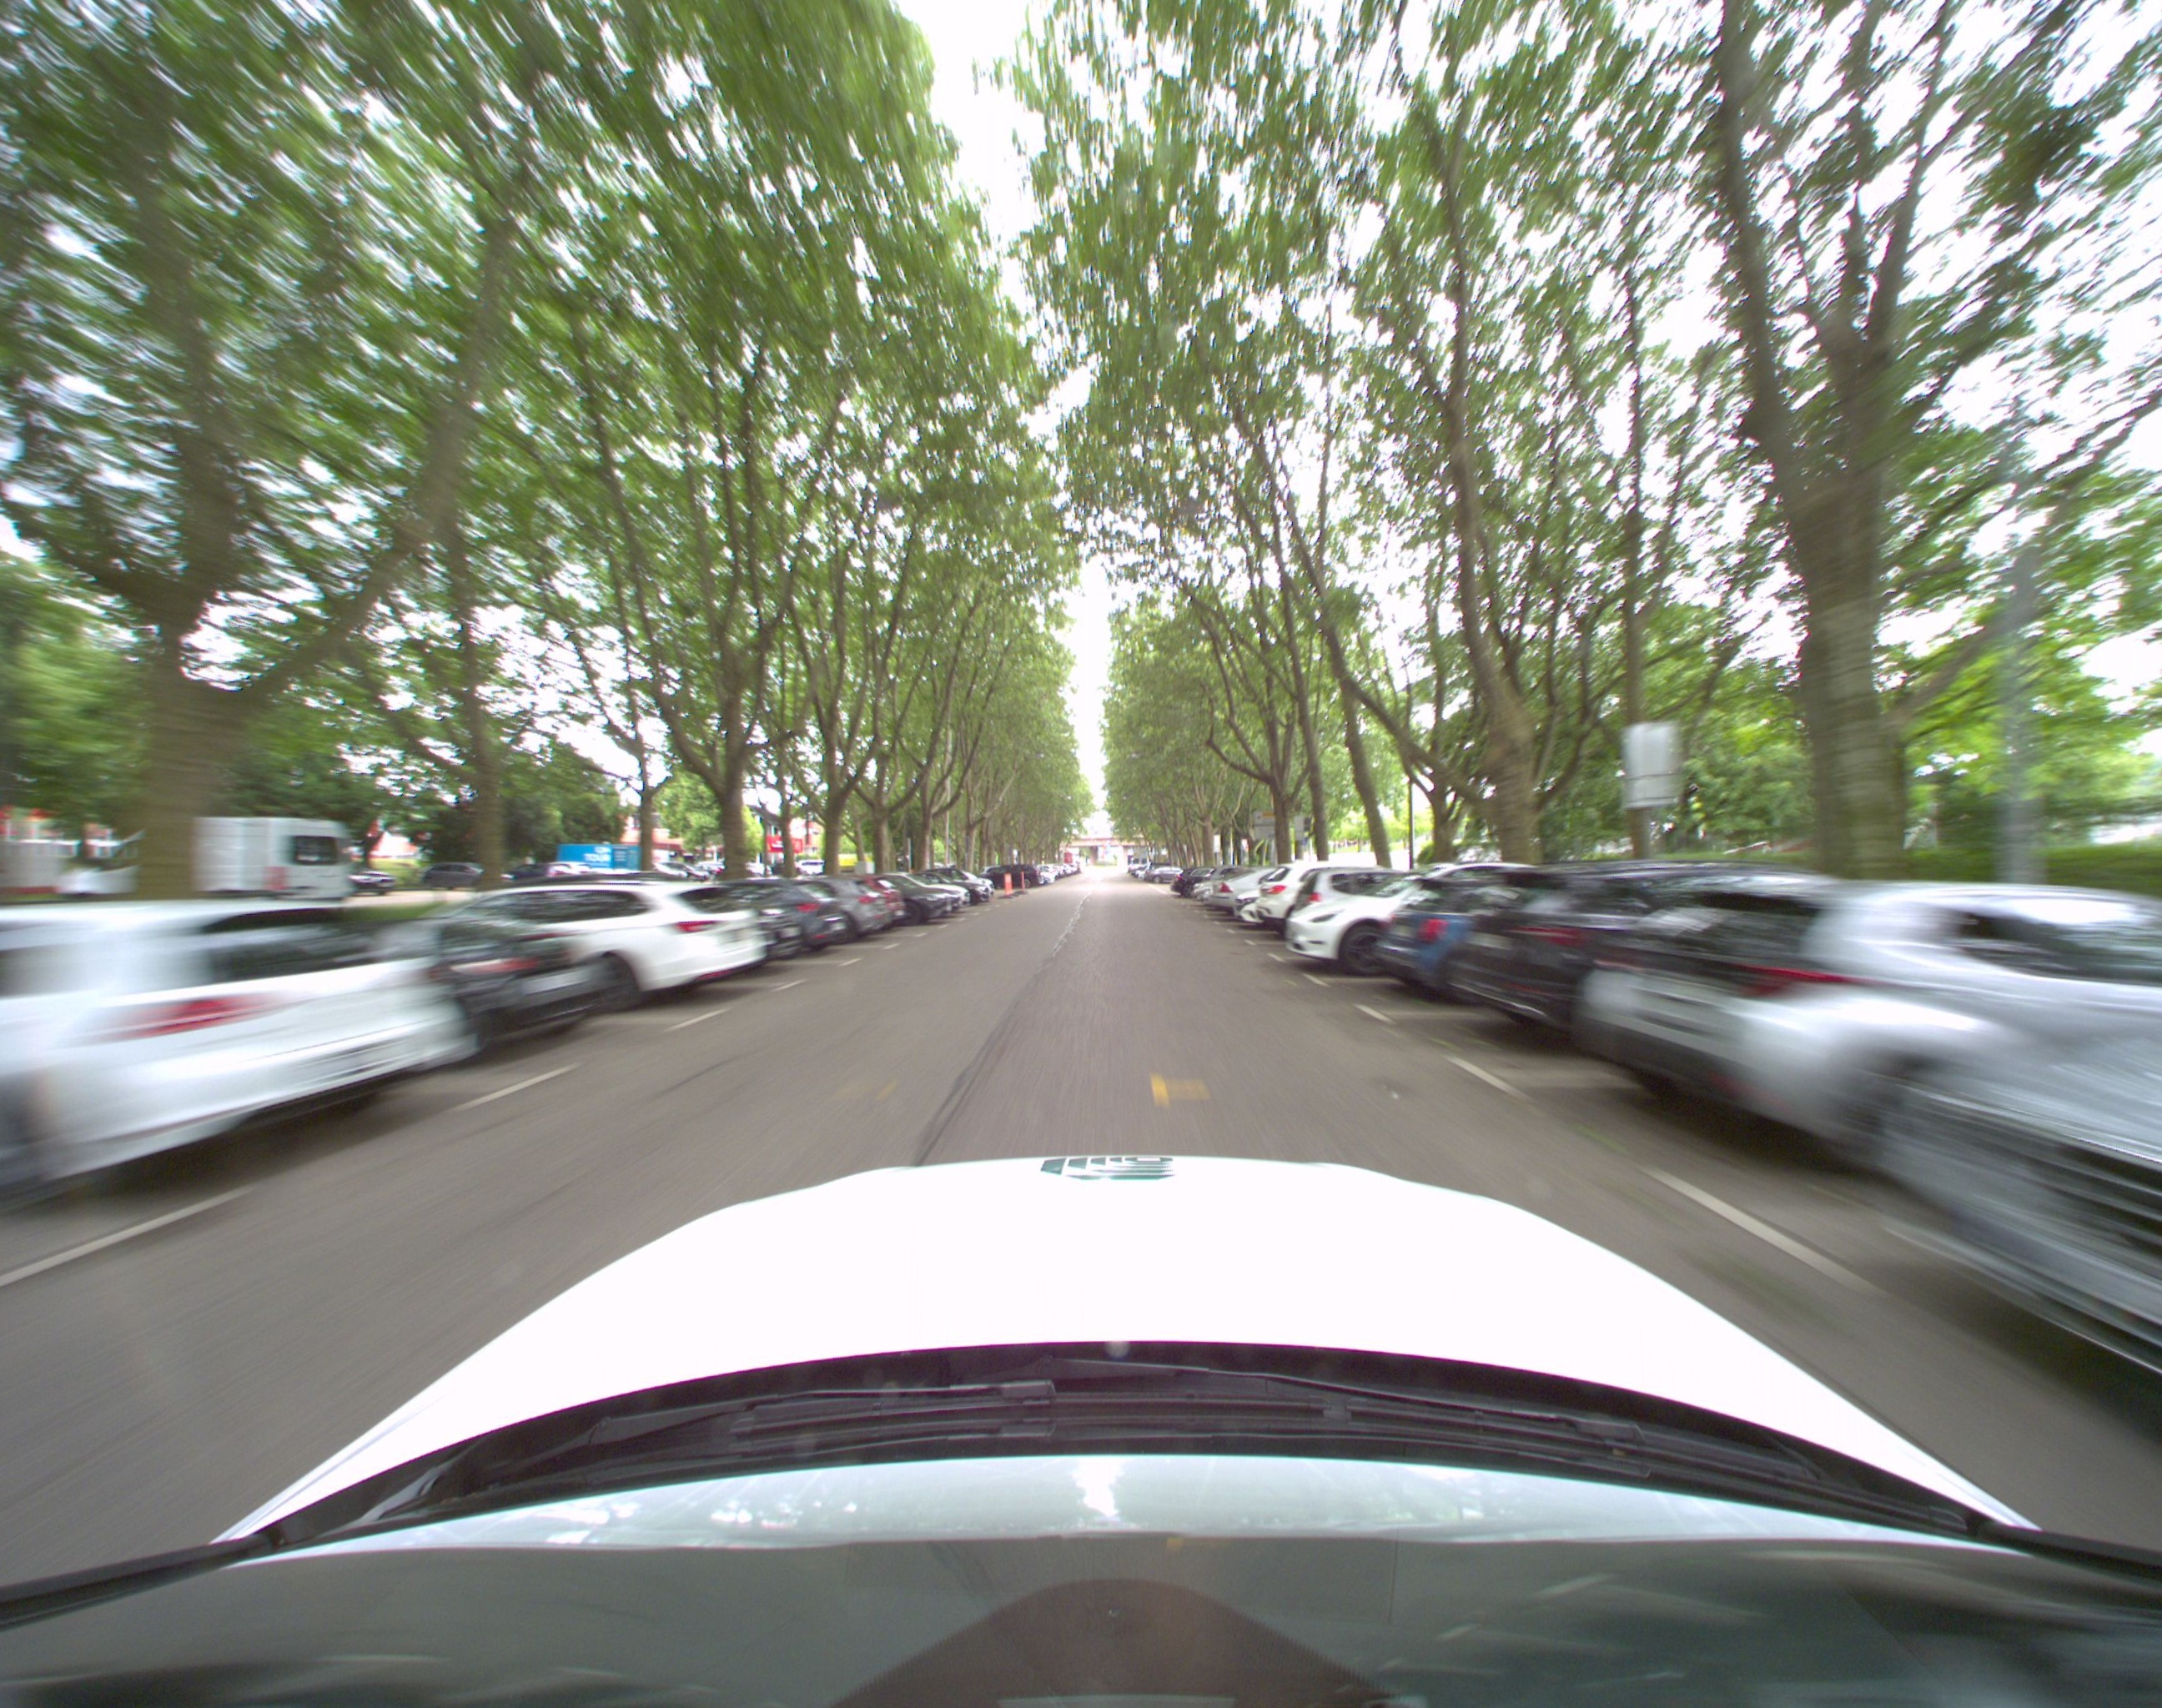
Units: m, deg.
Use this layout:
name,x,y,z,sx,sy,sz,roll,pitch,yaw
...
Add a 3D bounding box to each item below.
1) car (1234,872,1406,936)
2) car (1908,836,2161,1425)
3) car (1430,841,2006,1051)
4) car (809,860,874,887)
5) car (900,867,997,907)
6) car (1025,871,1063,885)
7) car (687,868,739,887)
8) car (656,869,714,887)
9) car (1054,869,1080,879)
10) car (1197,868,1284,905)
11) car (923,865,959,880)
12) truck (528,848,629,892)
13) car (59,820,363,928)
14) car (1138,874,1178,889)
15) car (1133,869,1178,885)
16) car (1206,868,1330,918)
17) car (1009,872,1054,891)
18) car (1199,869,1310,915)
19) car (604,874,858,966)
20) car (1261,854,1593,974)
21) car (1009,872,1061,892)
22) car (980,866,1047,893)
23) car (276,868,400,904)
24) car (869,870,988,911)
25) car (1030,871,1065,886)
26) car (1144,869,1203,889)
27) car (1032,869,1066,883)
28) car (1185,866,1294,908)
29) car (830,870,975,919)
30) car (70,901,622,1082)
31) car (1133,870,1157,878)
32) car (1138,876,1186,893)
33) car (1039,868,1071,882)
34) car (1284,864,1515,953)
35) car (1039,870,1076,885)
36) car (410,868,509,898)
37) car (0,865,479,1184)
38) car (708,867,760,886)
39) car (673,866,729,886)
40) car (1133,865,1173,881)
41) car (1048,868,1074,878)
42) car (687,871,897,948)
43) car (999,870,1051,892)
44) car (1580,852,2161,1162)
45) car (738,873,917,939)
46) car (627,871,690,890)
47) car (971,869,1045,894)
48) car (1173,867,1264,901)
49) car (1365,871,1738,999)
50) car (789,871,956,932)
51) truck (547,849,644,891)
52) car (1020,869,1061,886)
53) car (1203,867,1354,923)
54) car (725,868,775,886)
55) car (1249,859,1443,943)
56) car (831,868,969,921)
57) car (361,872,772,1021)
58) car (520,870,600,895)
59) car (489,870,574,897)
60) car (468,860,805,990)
name,x,y,z,sx,sy,sz,roll,pitch,yaw
car,5.563,1.159,19.208,3.635,1.410,1.518,1,-1,-2
car,4.848,0.711,1.910,4.285,1.470,1.622,1,-1,-2
car,5.366,0.736,7.245,3.765,1.597,1.819,1,-1,-2
car,-20.653,1.653,70.367,5.061,2.232,1.535,1,-1,0
car,-5.599,1.391,34.781,3.816,1.555,1.693,-2,-1,-2
car,-3.950,2.535,87.345,3.793,1.296,1.789,-3,-1,7
car,-31.261,1.993,69.236,3.744,1.590,1.535,1,-1,-1
car,-31.271,1.870,64.369,3.744,1.350,1.535,1,-1,-1
car,-2.193,3.057,126.323,3.796,1.515,1.688,0,-1,5
car,6.769,1.372,34.765,3.413,1.508,1.555,1,-1,0
car,-18.741,2.448,109.231,4.331,2.015,2.178,1,-1,5
truck,-32.481,1.036,52.736,5.293,2.742,1.929,1,-1,1
car,-22.404,0.502,21.144,5.763,2.597,2.001,1,-1,2
car,8.131,2.920,86.302,4.036,1.469,1.730,0,-1,-1
car,7.024,2.177,76.332,4.154,1.442,1.734,0,-1,6
car,5.617,1.171,24.724,3.416,1.424,1.518,1,-1,-2
car,-4.495,2.532,74.725,3.793,1.484,1.665,-3,-1,7
car,5.667,1.226,26.879,3.410,1.424,1.520,1,-1,3
car,-6.286,1.158,14.950,3.814,1.430,1.802,-2,-1,0
car,4.952,0.836,12.054,4.155,1.596,1.853,1,-1,-2
car,-3.651,2.218,64.415,3.793,1.354,1.665,-3,-1,7
car,-4.711,1.811,57.350,4.457,1.677,1.762,-3,-1,0
car,-32.353,1.385,35.523,3.789,1.486,1.678,1,-1,0
car,-5.925,1.414,32.030,4.320,1.430,1.693,-2,-1,-2
car,-3.870,2.861,94.973,3.793,1.515,1.689,-3,-1,7
car,7.269,1.937,64.089,4.550,1.487,2.003,0,-1,6
car,-3.804,2.645,97.022,3.793,1.515,1.689,-3,-1,7
car,5.711,1.173,29.551,3.666,1.424,1.519,1,-1,0
car,-5.916,1.329,27.222,4.383,1.430,1.695,-2,-1,2
car,-6.151,1.109,7.137,3.307,1.203,1.584,-2,-1,-2
car,11.440,3.573,145.773,4.359,1.523,1.732,0,-1,2
car,7.107,2.668,71.345,4.154,1.442,1.734,0,-1,6
car,-3.305,2.706,105.002,3.793,1.515,1.689,-3,-1,7
car,5.766,0.971,15.000,3.635,1.519,1.642,1,-1,-2
car,-2.644,2.678,91.958,3.793,1.515,1.689,-3,-1,7
car,-32.282,1.490,42.353,3.789,1.486,1.678,1,-1,0
car,-5.951,0.844,4.568,3.816,1.430,1.693,-2,-1,-2
car,-30.744,1.992,72.218,3.962,1.590,1.698,0,-1,10
car,-31.108,1.829,66.728,3.744,1.590,1.535,1,-1,-1
car,8.108,2.150,91.727,4.363,1.751,1.730,0,-1,-1
car,-2.979,2.872,124.283,3.796,1.515,1.688,0,-1,5
car,-6.054,1.142,17.360,3.816,1.430,1.693,-2,-1,-2
car,-4.245,2.050,62.154,3.801,1.484,1.662,-3,-1,0
car,5.272,0.760,4.762,3.765,1.470,1.622,1,-1,-2
car,-6.173,1.252,20.062,3.808,1.430,1.697,-2,-1,5
car,-30.840,1.932,59.437,3.743,1.350,1.535,1,-1,0
car,-4.848,1.827,54.465,4.649,1.427,2.000,-3,-1,0
car,6.211,1.341,37.002,3.905,1.452,1.555,1,-1,0
car,5.486,0.915,9.767,3.635,1.371,1.518,1,-1,-2
car,-5.499,1.246,21.877,4.010,1.430,1.693,-2,-1,-2
truck,-33.017,1.074,55.459,5.217,2.742,2.207,1,-1,1
car,-4.096,2.361,81.971,3.793,1.602,1.789,-3,-1,7
car,5.346,1.098,22.381,3.635,1.424,1.984,1,-1,-2
car,-30.492,2.076,75.031,3.962,1.590,1.698,0,-1,10
car,5.550,0.961,17.286,3.635,1.667,1.518,1,-1,-2
car,-5.479,1.235,25.001,3.816,1.430,1.693,-2,-2,-2
car,-6.000,1.032,9.846,3.816,1.497,1.693,-2,-1,-2
car,-31.835,1.736,49.830,3.789,1.486,1.712,1,-1,0
car,-32.062,1.704,47.578,3.789,1.486,1.678,1,-1,0
car,-6.259,0.962,11.852,3.817,1.608,1.857,-2,-1,-2
